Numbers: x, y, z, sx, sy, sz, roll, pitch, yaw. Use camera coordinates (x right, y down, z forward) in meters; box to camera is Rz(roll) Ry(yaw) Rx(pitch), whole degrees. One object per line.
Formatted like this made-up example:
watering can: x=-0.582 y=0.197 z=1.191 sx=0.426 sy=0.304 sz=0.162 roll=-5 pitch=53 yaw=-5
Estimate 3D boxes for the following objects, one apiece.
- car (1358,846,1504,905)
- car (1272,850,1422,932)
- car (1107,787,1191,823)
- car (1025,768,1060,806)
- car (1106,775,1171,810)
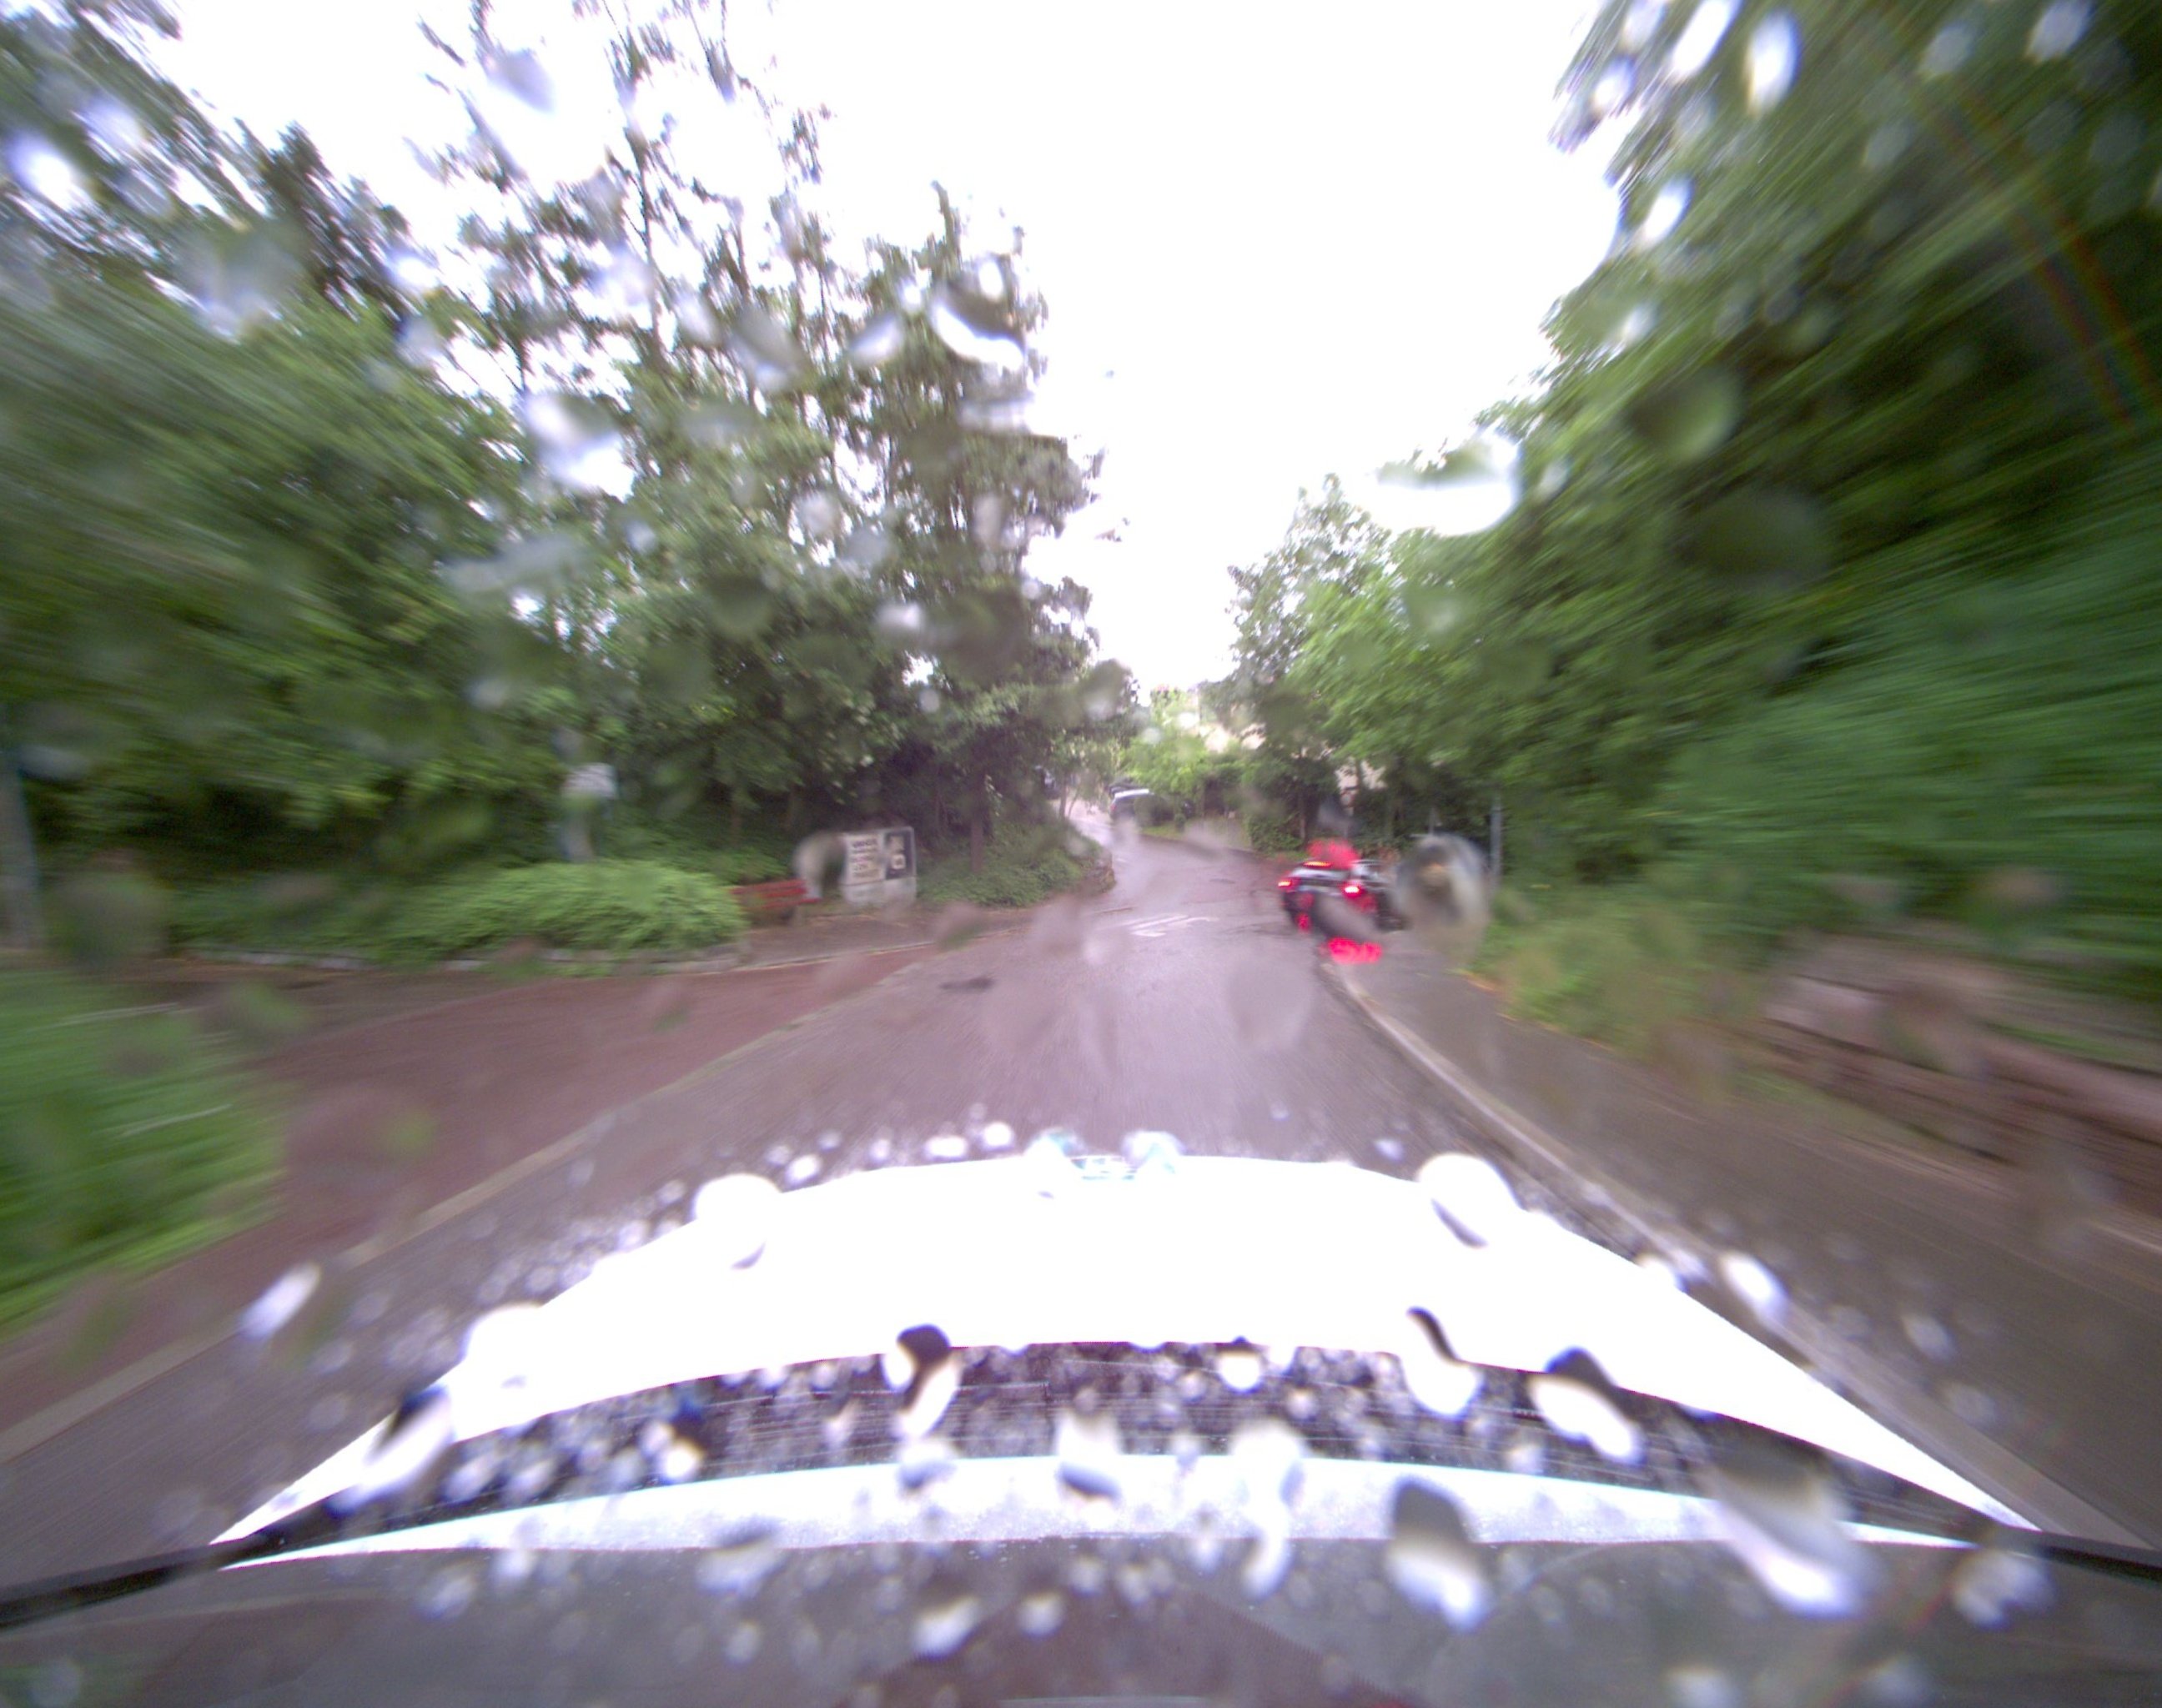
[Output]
car: x=11.024 y=0.678 z=25.689 sx=4.120 sy=1.536 sz=1.667 roll=4 pitch=3 yaw=-20
car: x=5.831 y=0.704 z=17.590 sx=1.683 sy=1.450 sz=4.025 roll=3 pitch=3 yaw=40
car: x=3.330 y=-2.397 z=39.753 sx=3.967 sy=1.415 sz=1.704 roll=-1 pitch=11 yaw=5
car: x=-2.348 y=-4.120 z=49.527 sx=1.883 sy=1.614 sz=4.002 roll=-6 pitch=13 yaw=-2
car: x=3.184 y=-3.404 z=44.778 sx=3.377 sy=1.573 sz=1.600 roll=0 pitch=15 yaw=8
